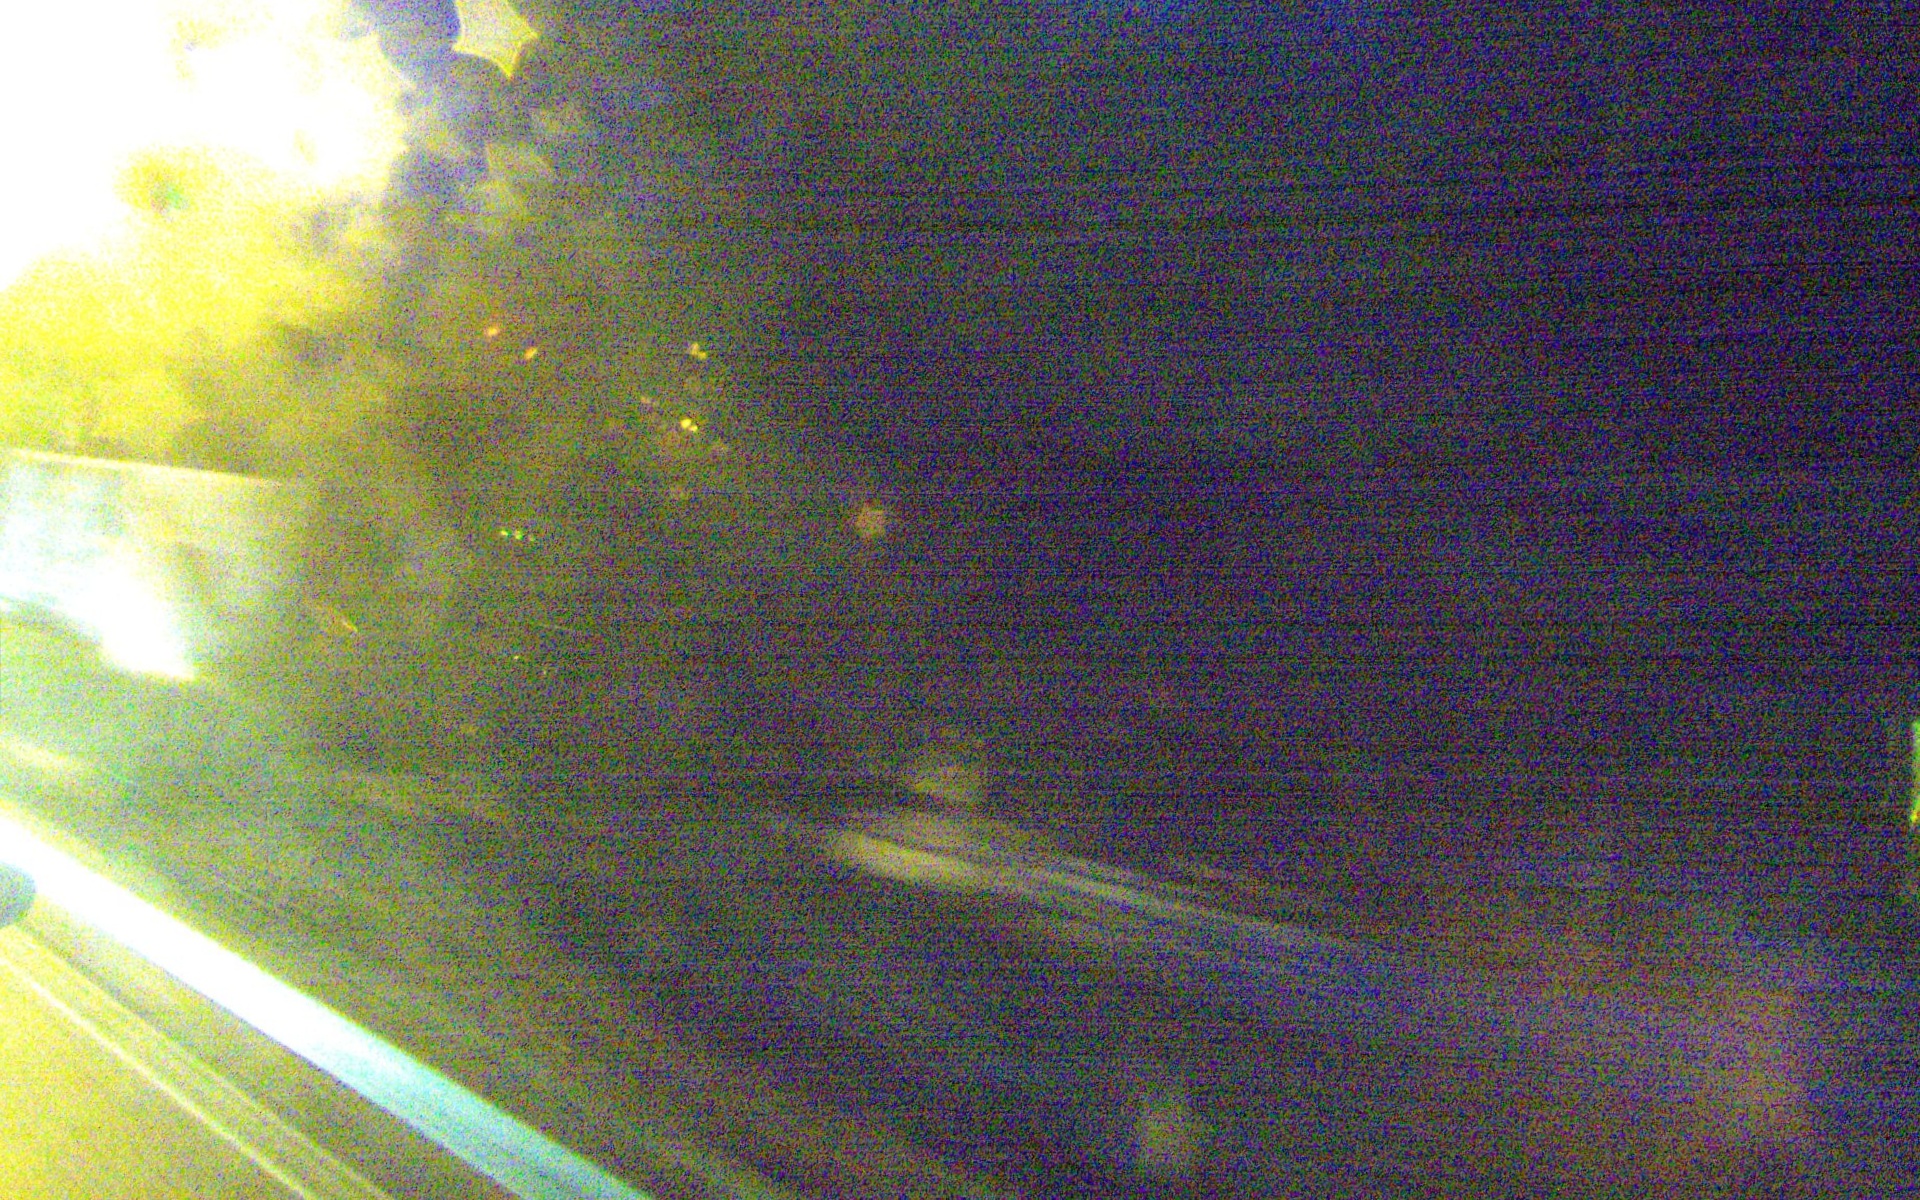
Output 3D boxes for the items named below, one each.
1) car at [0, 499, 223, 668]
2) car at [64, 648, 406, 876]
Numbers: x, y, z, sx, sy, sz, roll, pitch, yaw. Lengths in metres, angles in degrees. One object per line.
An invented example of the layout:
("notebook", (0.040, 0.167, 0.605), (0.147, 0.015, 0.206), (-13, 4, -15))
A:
("car", (-11.081, -0.273, 12.734), (3.742, 1.585, 1.675), (9, -1, 37))
("car", (-7.281, 1.474, 10.006), (3.619, 1.414, 1.636), (7, -2, 37))
